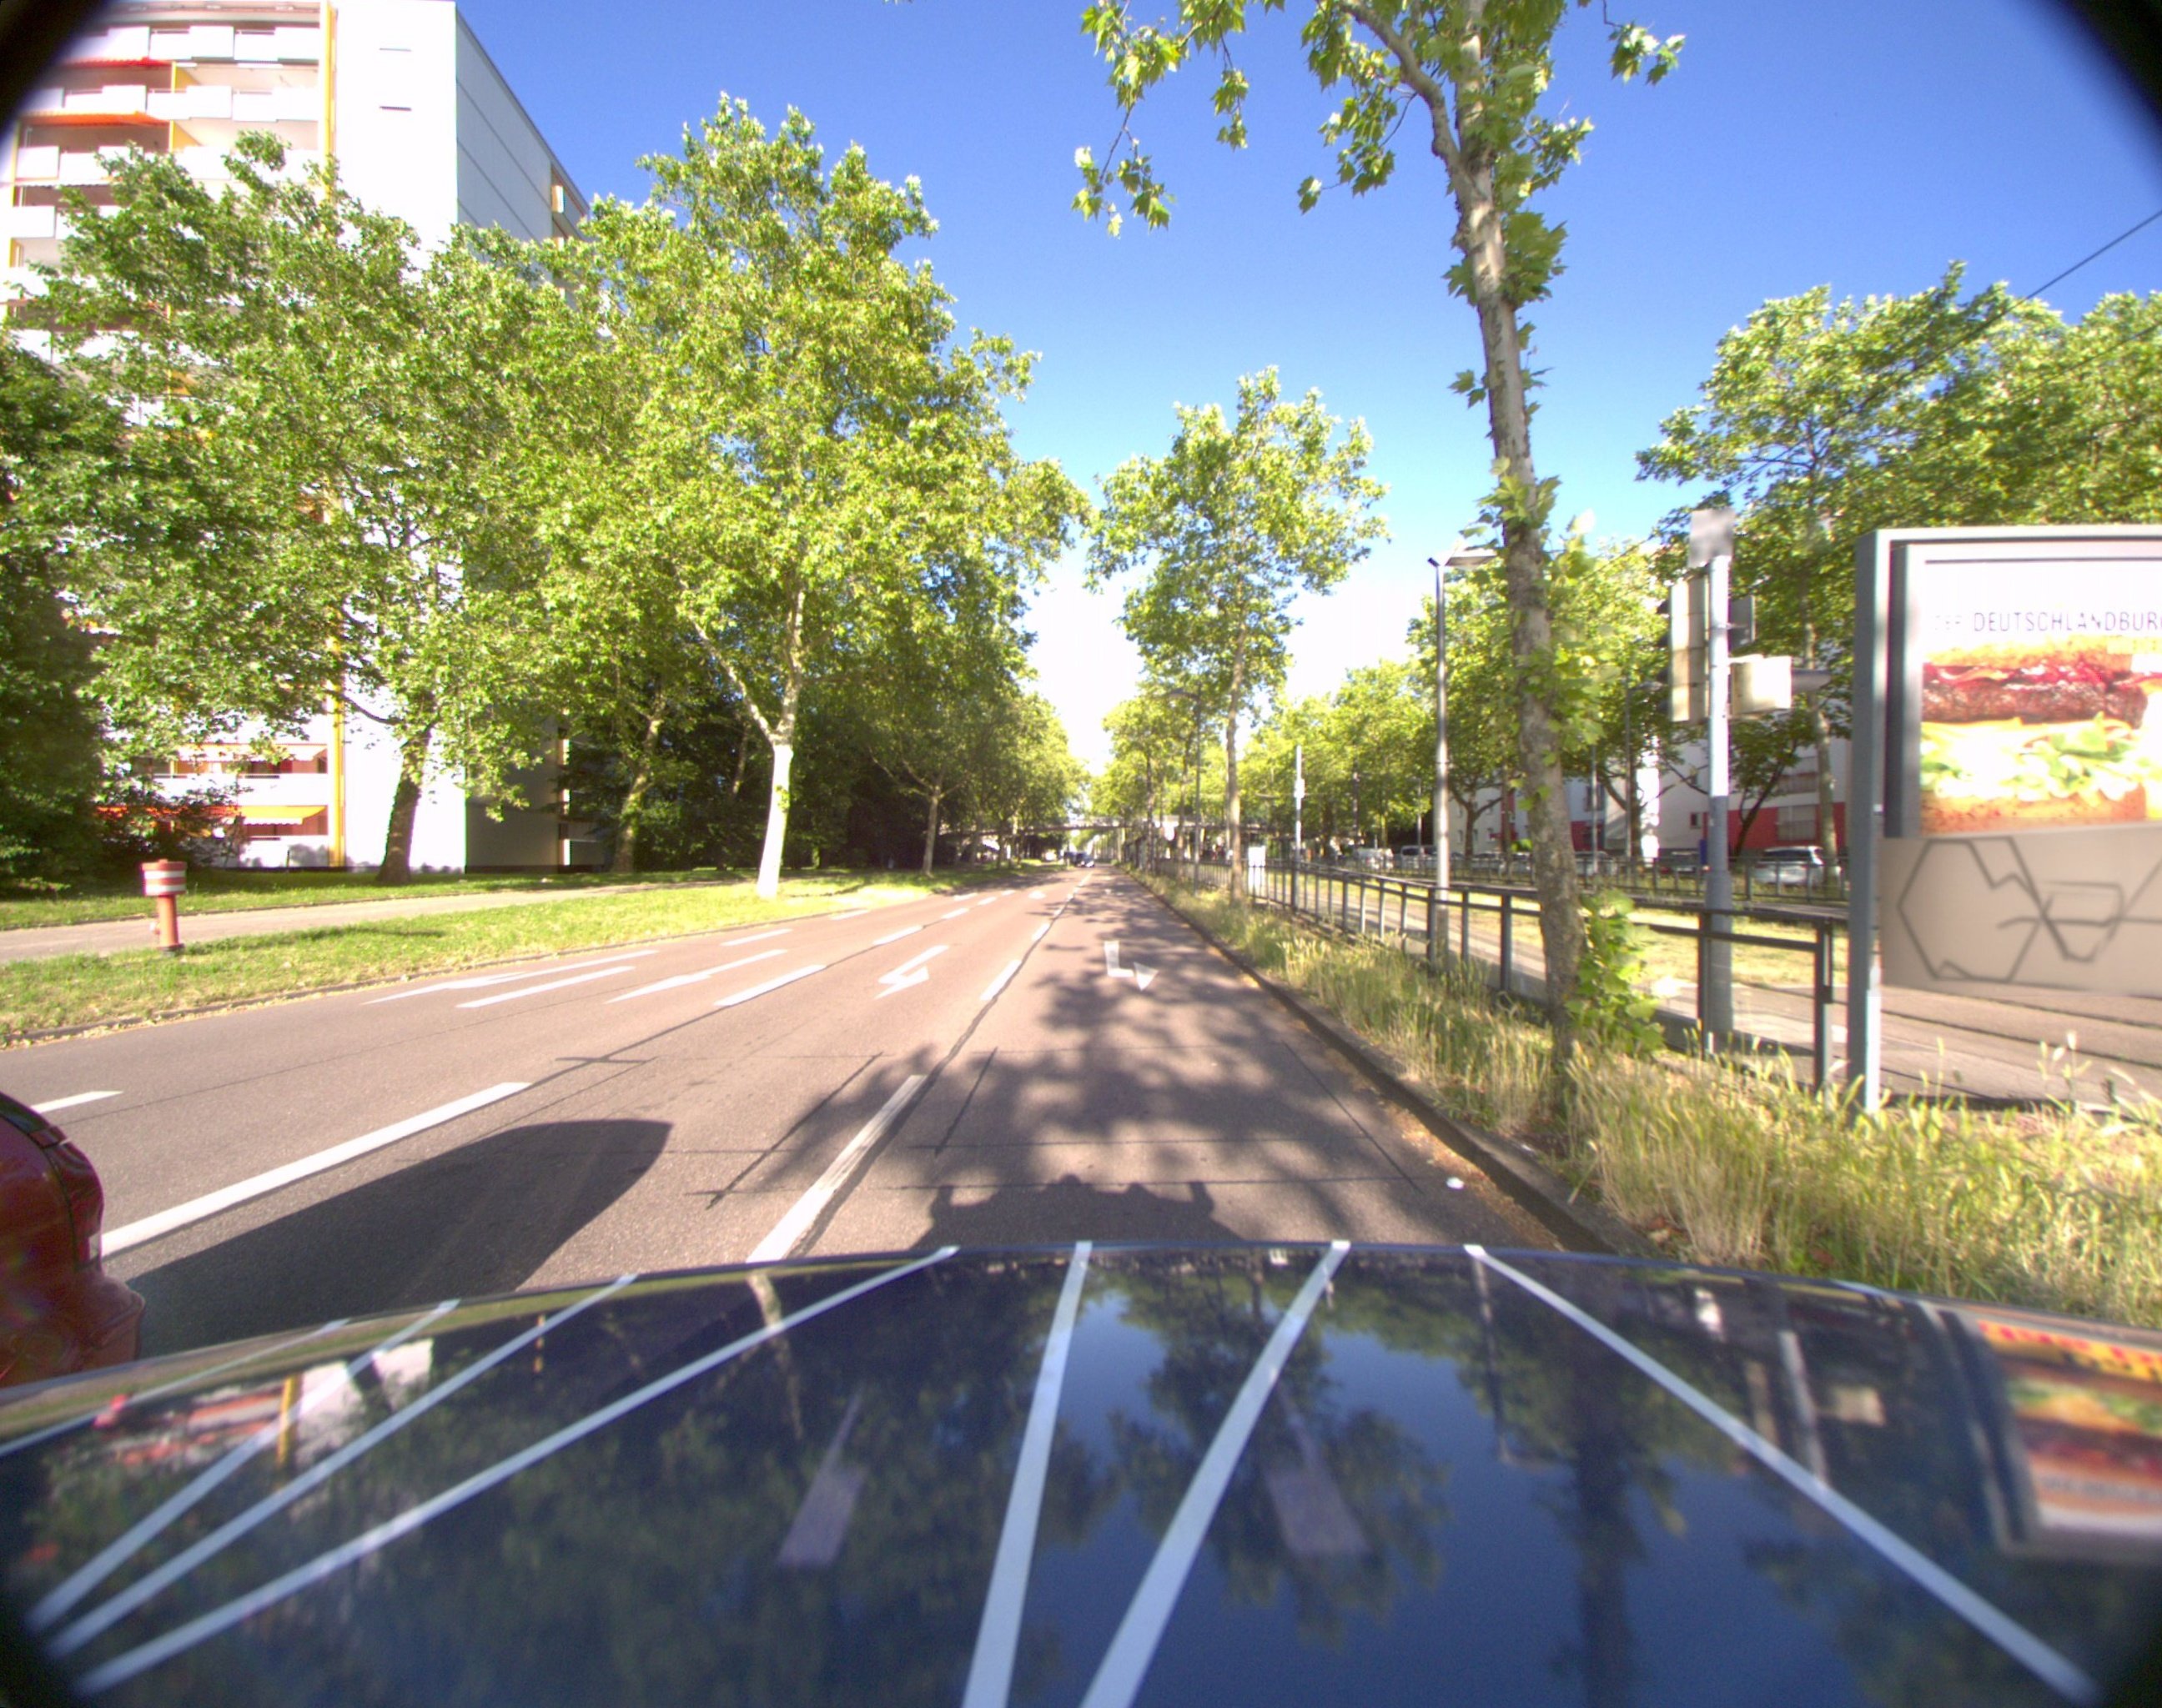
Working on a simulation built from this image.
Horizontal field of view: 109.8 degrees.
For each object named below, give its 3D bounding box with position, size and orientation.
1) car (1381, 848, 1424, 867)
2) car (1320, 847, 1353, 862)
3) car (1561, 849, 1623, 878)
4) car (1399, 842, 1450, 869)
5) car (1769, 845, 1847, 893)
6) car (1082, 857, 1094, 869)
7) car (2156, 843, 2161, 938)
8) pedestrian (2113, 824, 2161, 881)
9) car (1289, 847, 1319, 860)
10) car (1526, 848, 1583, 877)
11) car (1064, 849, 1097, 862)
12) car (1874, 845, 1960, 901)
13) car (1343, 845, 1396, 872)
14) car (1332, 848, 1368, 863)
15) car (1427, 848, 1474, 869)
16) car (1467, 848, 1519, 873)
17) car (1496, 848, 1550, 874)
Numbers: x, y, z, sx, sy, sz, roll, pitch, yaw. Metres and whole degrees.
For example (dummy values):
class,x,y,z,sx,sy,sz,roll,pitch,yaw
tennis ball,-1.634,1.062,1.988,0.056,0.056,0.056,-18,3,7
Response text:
class,x,y,z,sx,sy,sz,roll,pitch,yaw
car,25.732,0.275,60.741,3.811,1.433,1.652,-2,0,-42
car,26.789,0.051,79.615,3.811,1.433,1.652,-2,0,-42
car,25.383,0.453,37.687,3.811,1.348,1.652,-2,0,-42
car,25.820,0.094,57.019,4.330,1.863,1.836,-2,0,-42
car,25.358,0.494,26.465,3.811,1.501,1.652,-2,0,-42
car,0.891,1.185,100.783,1.580,1.395,3.638,-2,0,0
car,19.118,0.607,10.801,1.655,1.609,4.294,-2,0,1
pedestrian,32.749,-0.054,23.428,0.764,1.723,0.786,-2,1,-1
car,26.443,-0.042,89.964,3.811,1.433,1.652,-2,0,-42
car,25.864,0.448,41.468,3.811,1.433,1.652,-2,0,-42
car,-0.054,0.240,116.434,4.708,1.924,1.911,-1,0,30
car,25.244,0.529,22.956,3.811,1.501,1.652,-2,0,-42
car,20.519,0.283,54.225,1.832,1.811,4.902,-2,0,-1
car,26.069,0.139,73.554,3.811,1.433,1.652,-2,0,-42
car,26.304,0.315,54.021,3.811,1.433,1.652,-2,0,-42
car,25.853,0.403,47.668,3.811,1.433,1.652,-2,0,-42
car,26.100,0.412,44.854,3.811,1.433,1.652,-2,0,-42
